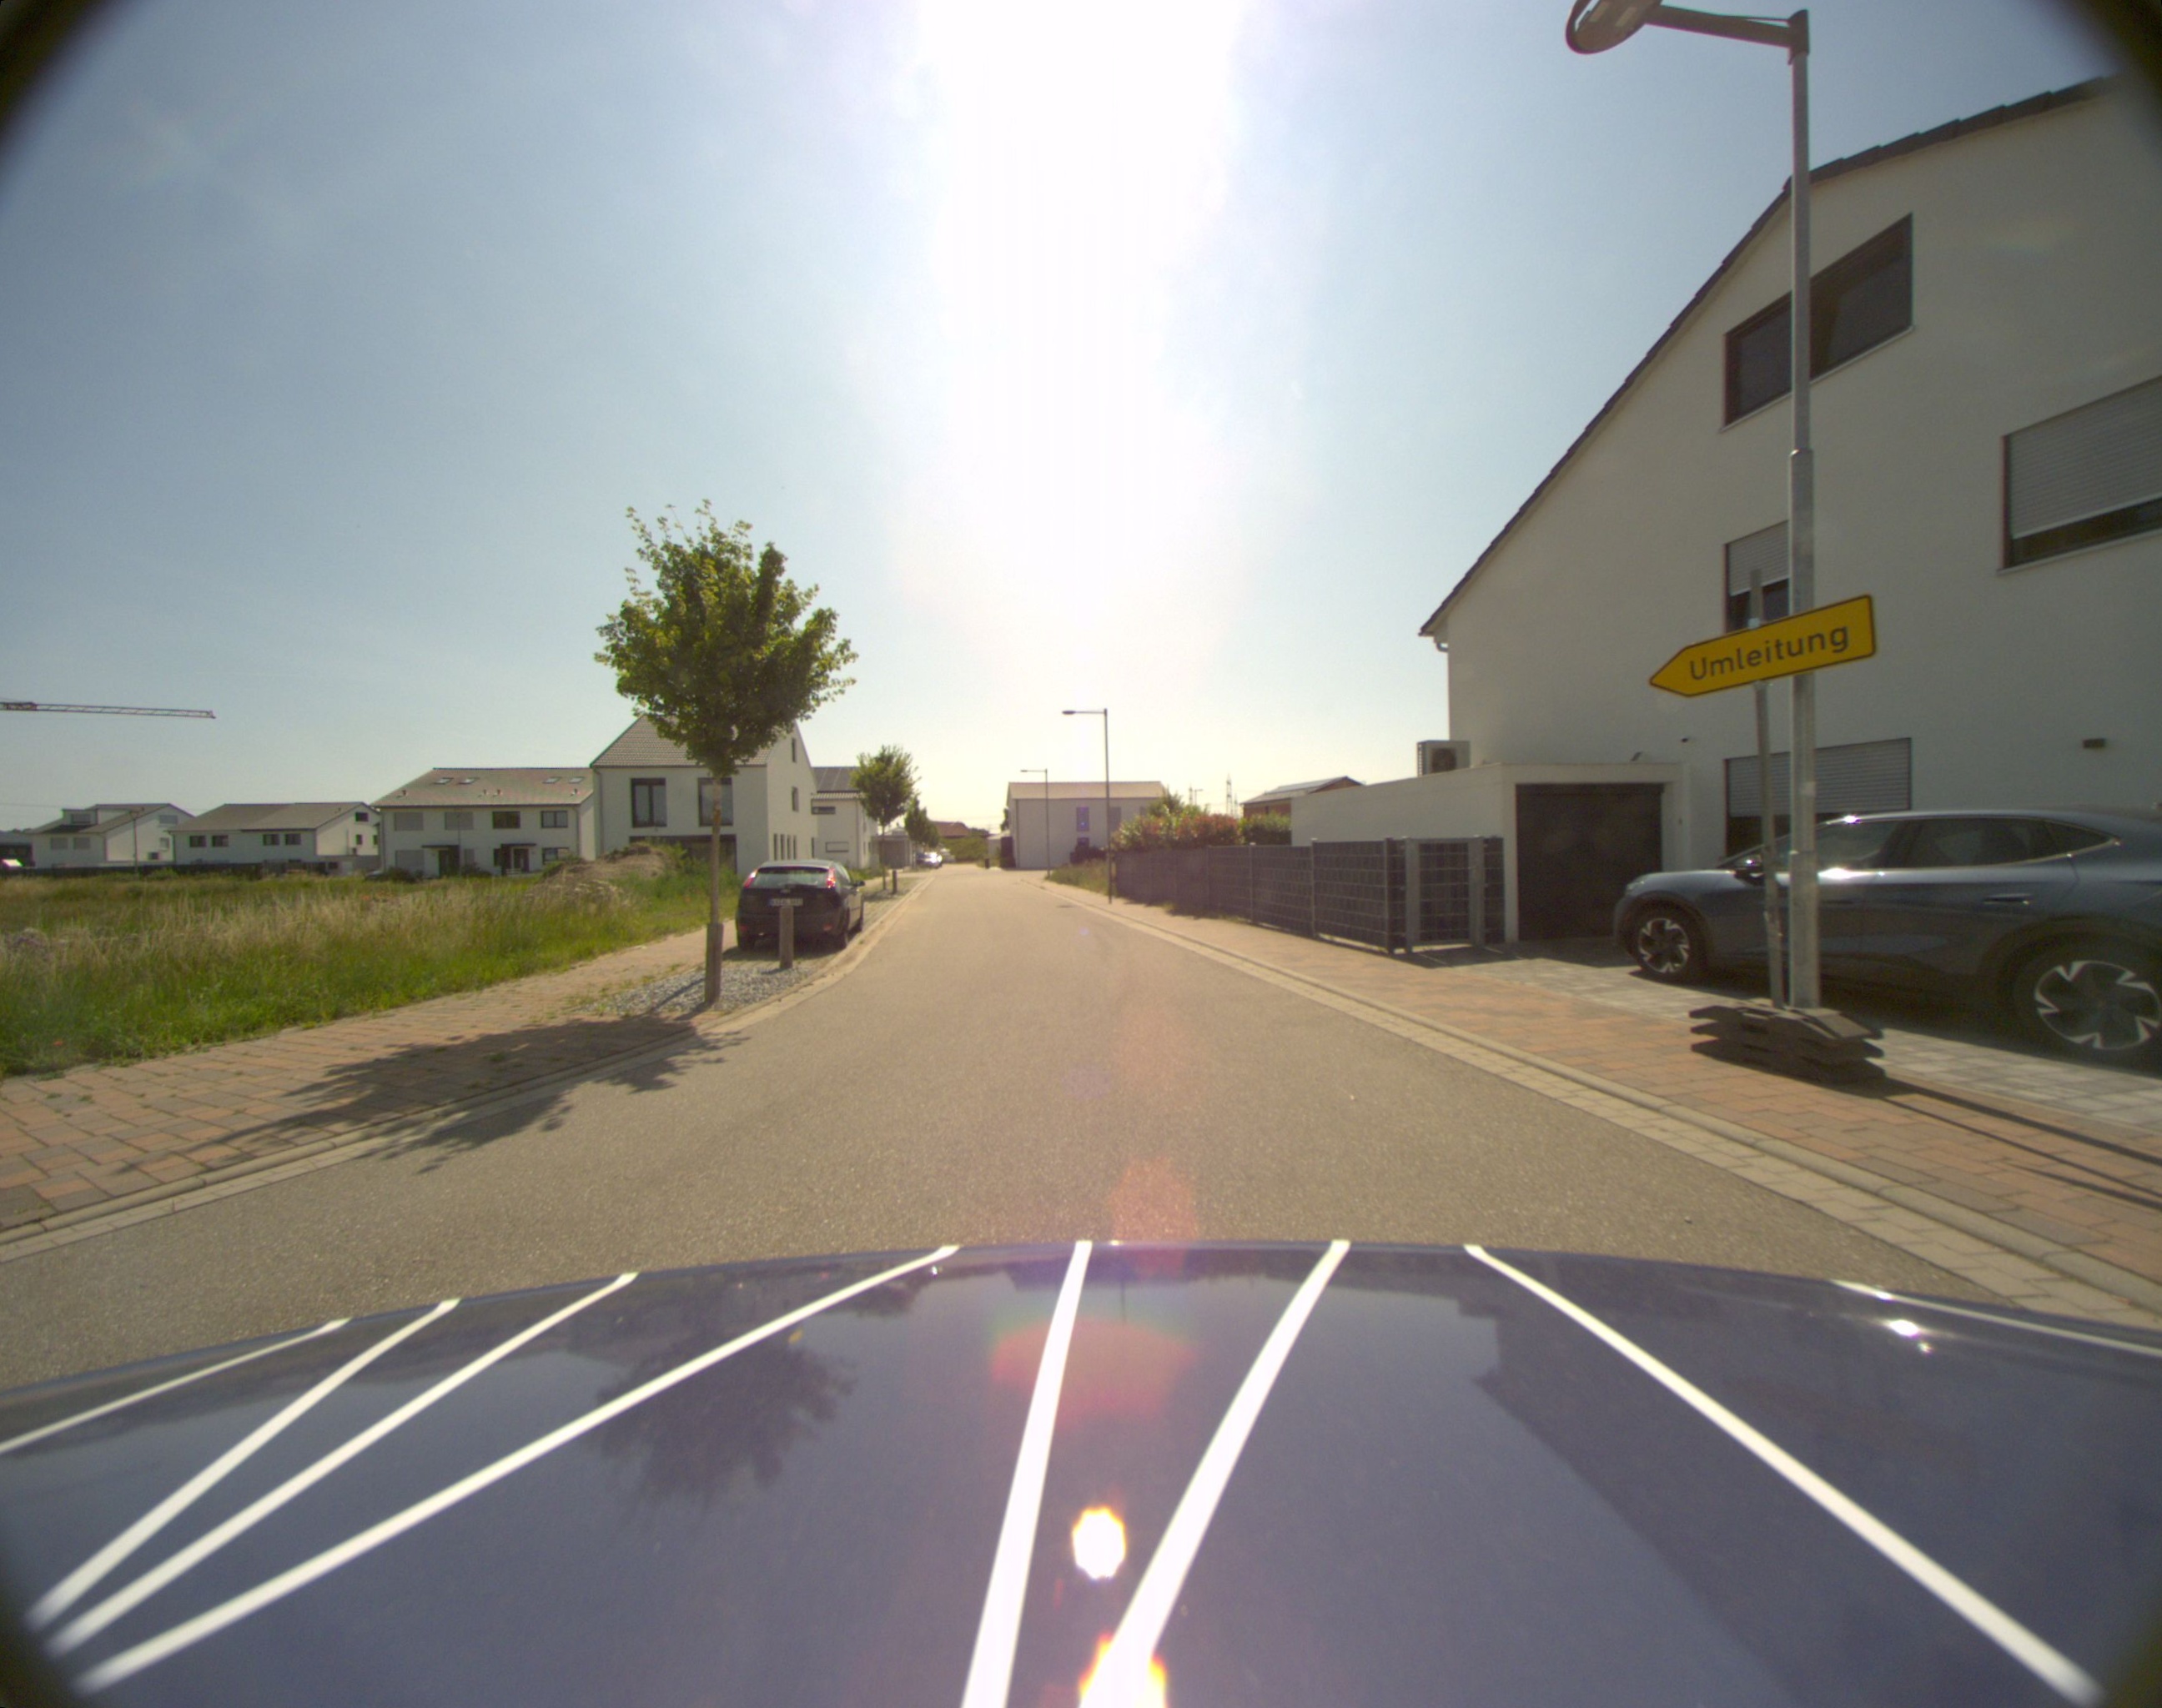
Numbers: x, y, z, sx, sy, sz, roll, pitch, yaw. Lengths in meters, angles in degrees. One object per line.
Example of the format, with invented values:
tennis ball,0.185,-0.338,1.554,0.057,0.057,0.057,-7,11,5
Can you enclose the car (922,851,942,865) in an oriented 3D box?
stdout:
car,-16.365,0.443,83.757,1.926,1.412,4.417,-1,1,-8

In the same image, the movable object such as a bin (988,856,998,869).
movable object such as a bin,-7.900,0.761,68.160,0.808,1.092,0.671,-1,1,-7

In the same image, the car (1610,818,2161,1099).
car,6.688,0.558,5.731,1.960,1.549,4.347,-1,0,-10

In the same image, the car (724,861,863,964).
car,-5.082,0.924,13.957,1.850,1.485,4.189,-3,0,-14

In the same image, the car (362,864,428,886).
car,-55.096,1.660,61.131,1.814,1.565,3.998,-2,1,-4
